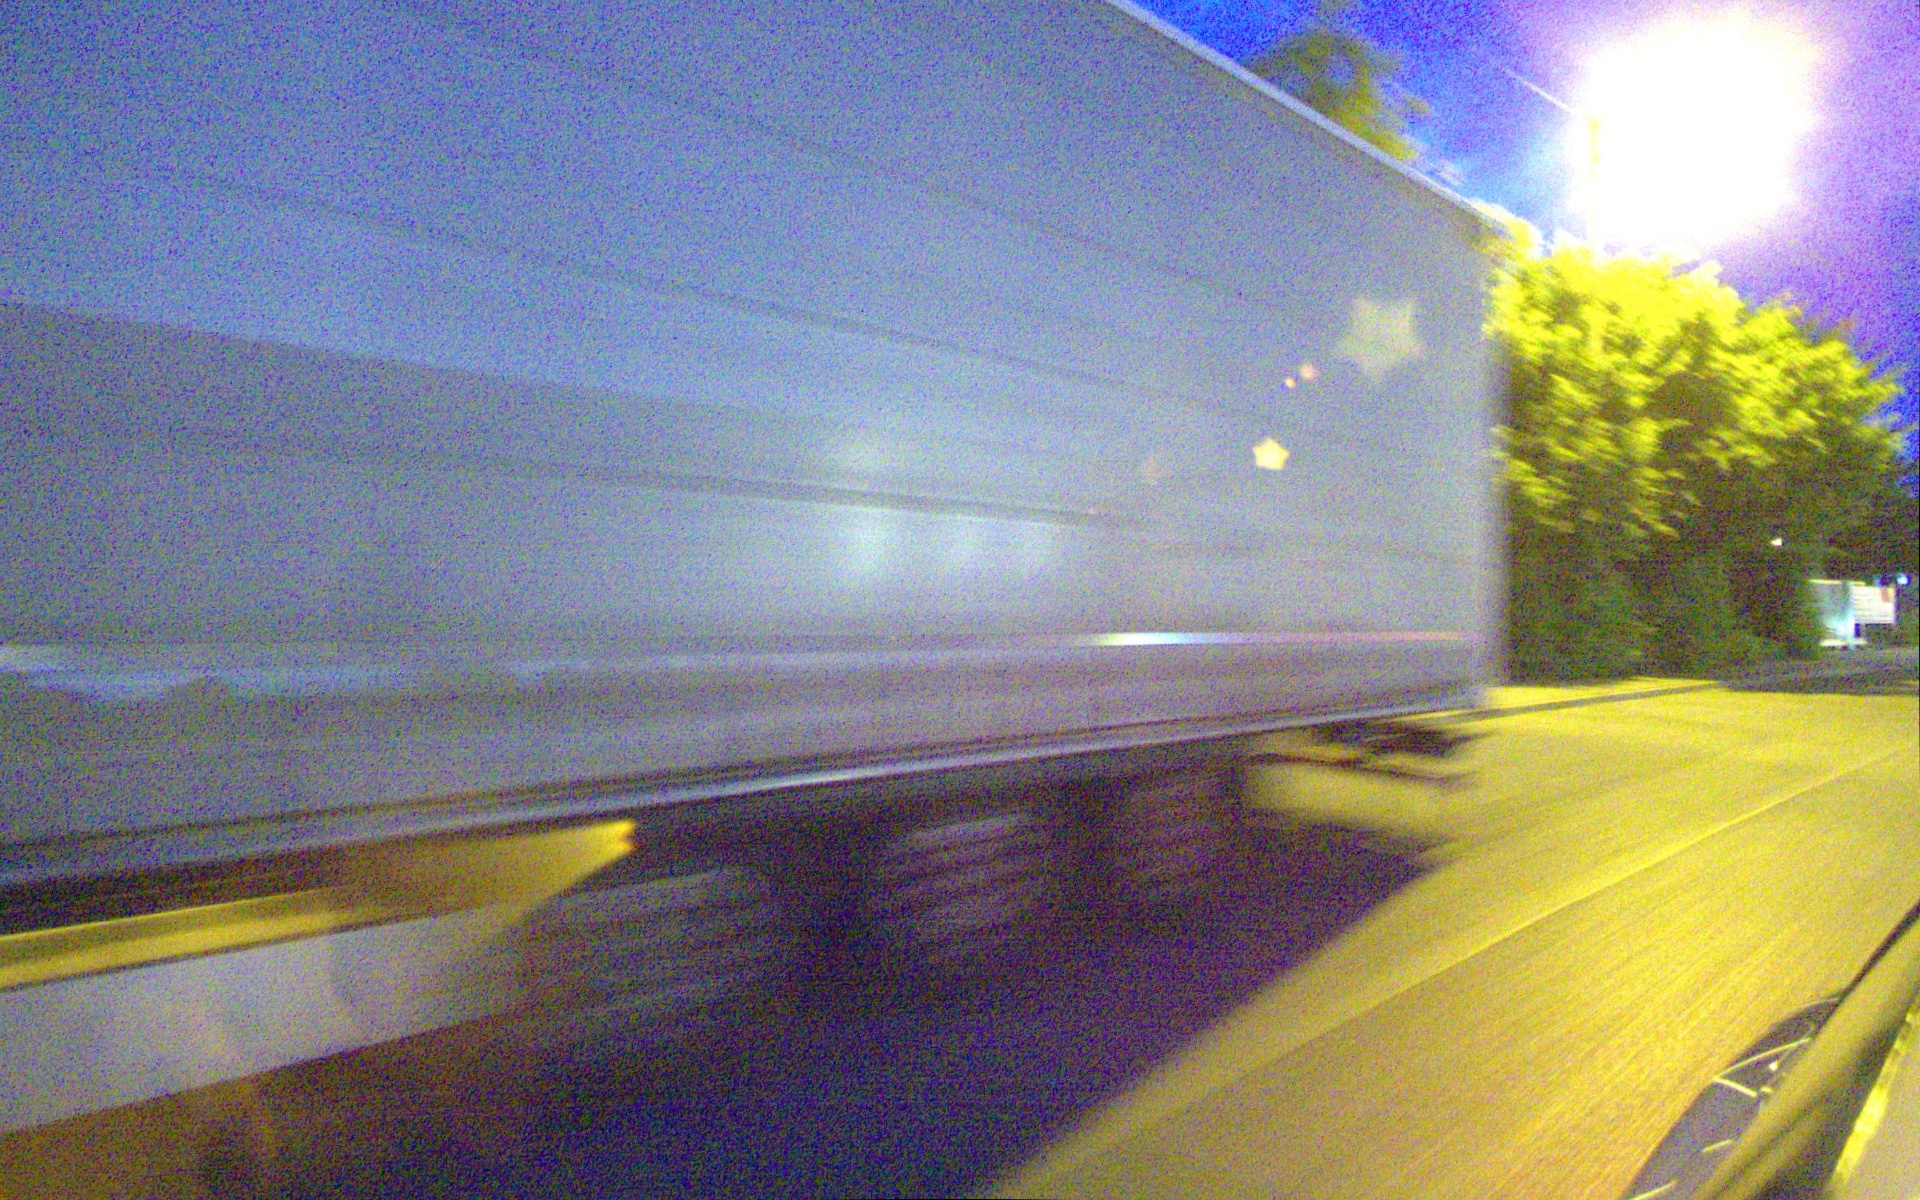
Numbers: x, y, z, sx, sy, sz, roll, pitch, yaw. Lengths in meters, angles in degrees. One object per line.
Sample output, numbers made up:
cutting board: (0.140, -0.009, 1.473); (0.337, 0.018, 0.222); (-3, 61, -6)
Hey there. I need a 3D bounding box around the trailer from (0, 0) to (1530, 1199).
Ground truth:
trailer: (-2.410, -0.668, 3.227); (13.727, 4.033, 2.814); (0, 0, -40)
